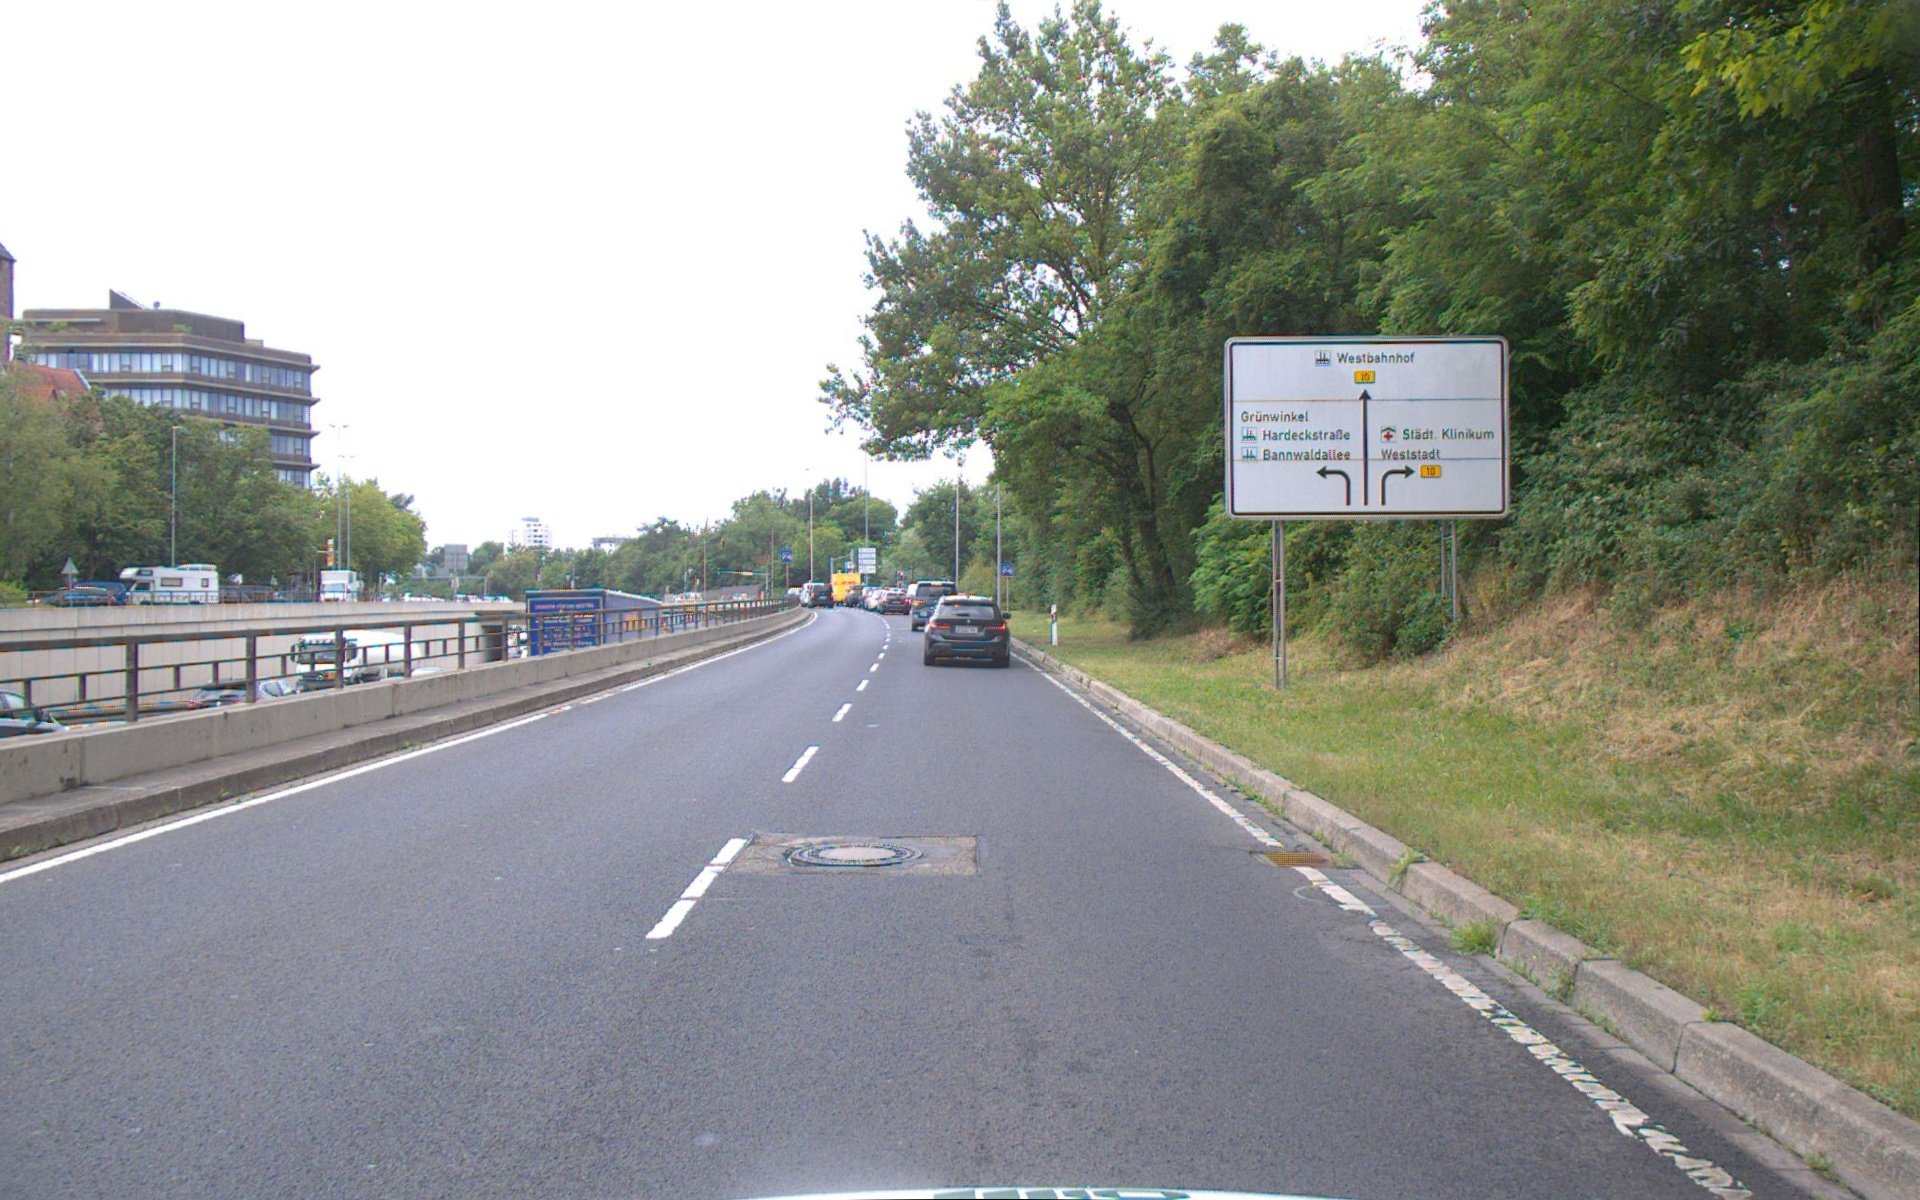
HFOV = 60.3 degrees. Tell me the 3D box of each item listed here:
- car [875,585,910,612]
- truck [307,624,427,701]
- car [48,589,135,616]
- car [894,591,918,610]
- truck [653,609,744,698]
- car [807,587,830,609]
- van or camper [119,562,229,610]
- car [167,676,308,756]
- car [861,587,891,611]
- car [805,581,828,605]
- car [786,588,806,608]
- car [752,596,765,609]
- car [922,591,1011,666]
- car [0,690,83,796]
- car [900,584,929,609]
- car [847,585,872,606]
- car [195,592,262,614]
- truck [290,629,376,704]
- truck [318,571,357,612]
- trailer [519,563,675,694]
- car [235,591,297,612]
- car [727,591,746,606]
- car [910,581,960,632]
[{"bbox_3d":[-4.240,-0.083,103.710,1.849,1.620,4.423,1,0,-7],"label":"car"},{"bbox_3d":[-29.262,2.988,82.177,2.474,3.410,11.043,-1,0,-3],"label":"truck"},{"bbox_3d":[-48.725,0.141,92.842,1.597,1.466,3.982,1,0,37],"label":"car"},{"bbox_3d":[-4.429,0.039,136.216,1.847,1.572,3.997,1,0,-4],"label":"car"},{"bbox_3d":[-13.268,2.571,85.222,2.794,4.107,15.570,-1,0,-2],"label":"truck"},{"bbox_3d":[-11.519,-0.134,134.800,1.593,1.731,4.288,1,0,-8],"label":"car"},{"bbox_3d":[-49.589,-0.848,104.403,2.109,2.859,5.885,1,-1,44],"label":"van or camper"},{"bbox_3d":[-16.695,2.650,38.406,1.590,1.555,3.896,1,0,-1],"label":"car"},{"bbox_3d":[-6.015,-0.057,117.880,1.849,1.620,4.423,1,0,-7],"label":"car"},{"bbox_3d":[-12.433,-0.564,142.845,1.849,2.022,4.423,1,0,-7],"label":"car"},{"bbox_3d":[-14.780,-0.208,149.147,1.593,1.731,4.288,1,0,-8],"label":"car"},{"bbox_3d":[-27.116,0.310,222.403,1.593,1.731,4.288,1,0,-8],"label":"car"},{"bbox_3d":[0.085,0.566,35.594,1.713,1.451,4.460,0,1,-3],"label":"car"},{"bbox_3d":[-16.303,2.380,27.296,1.622,1.555,3.896,1,0,-1],"label":"car"},{"bbox_3d":[-3.529,-0.265,127.922,1.849,1.912,4.423,1,0,-7],"label":"car"},{"bbox_3d":[-8.556,-0.360,139.927,1.849,1.730,4.423,1,0,-7],"label":"car"},{"bbox_3d":[-50.716,0.194,114.755,1.597,1.466,3.982,1,0,37],"label":"car"},{"bbox_3d":[-28.997,3.022,76.688,2.474,3.276,4.316,-1,0,-3],"label":"truck"},{"bbox_3d":[-47.465,-0.636,126.233,1.983,3.039,7.069,1,0,-15],"label":"truck"},{"bbox_3d":[-12.894,0.955,60.457,2.794,4.107,15.997,-1,0,-2],"label":"trailer"},{"bbox_3d":[-51.469,0.115,122.773,1.597,1.466,3.982,1,0,37],"label":"car"},{"bbox_3d":[-27.391,-0.160,202.791,1.598,1.731,4.274,1,0,-18],"label":"car"},{"bbox_3d":[-0.958,0.256,64.693,1.860,1.917,4.414,1,0,-1],"label":"car"}]
